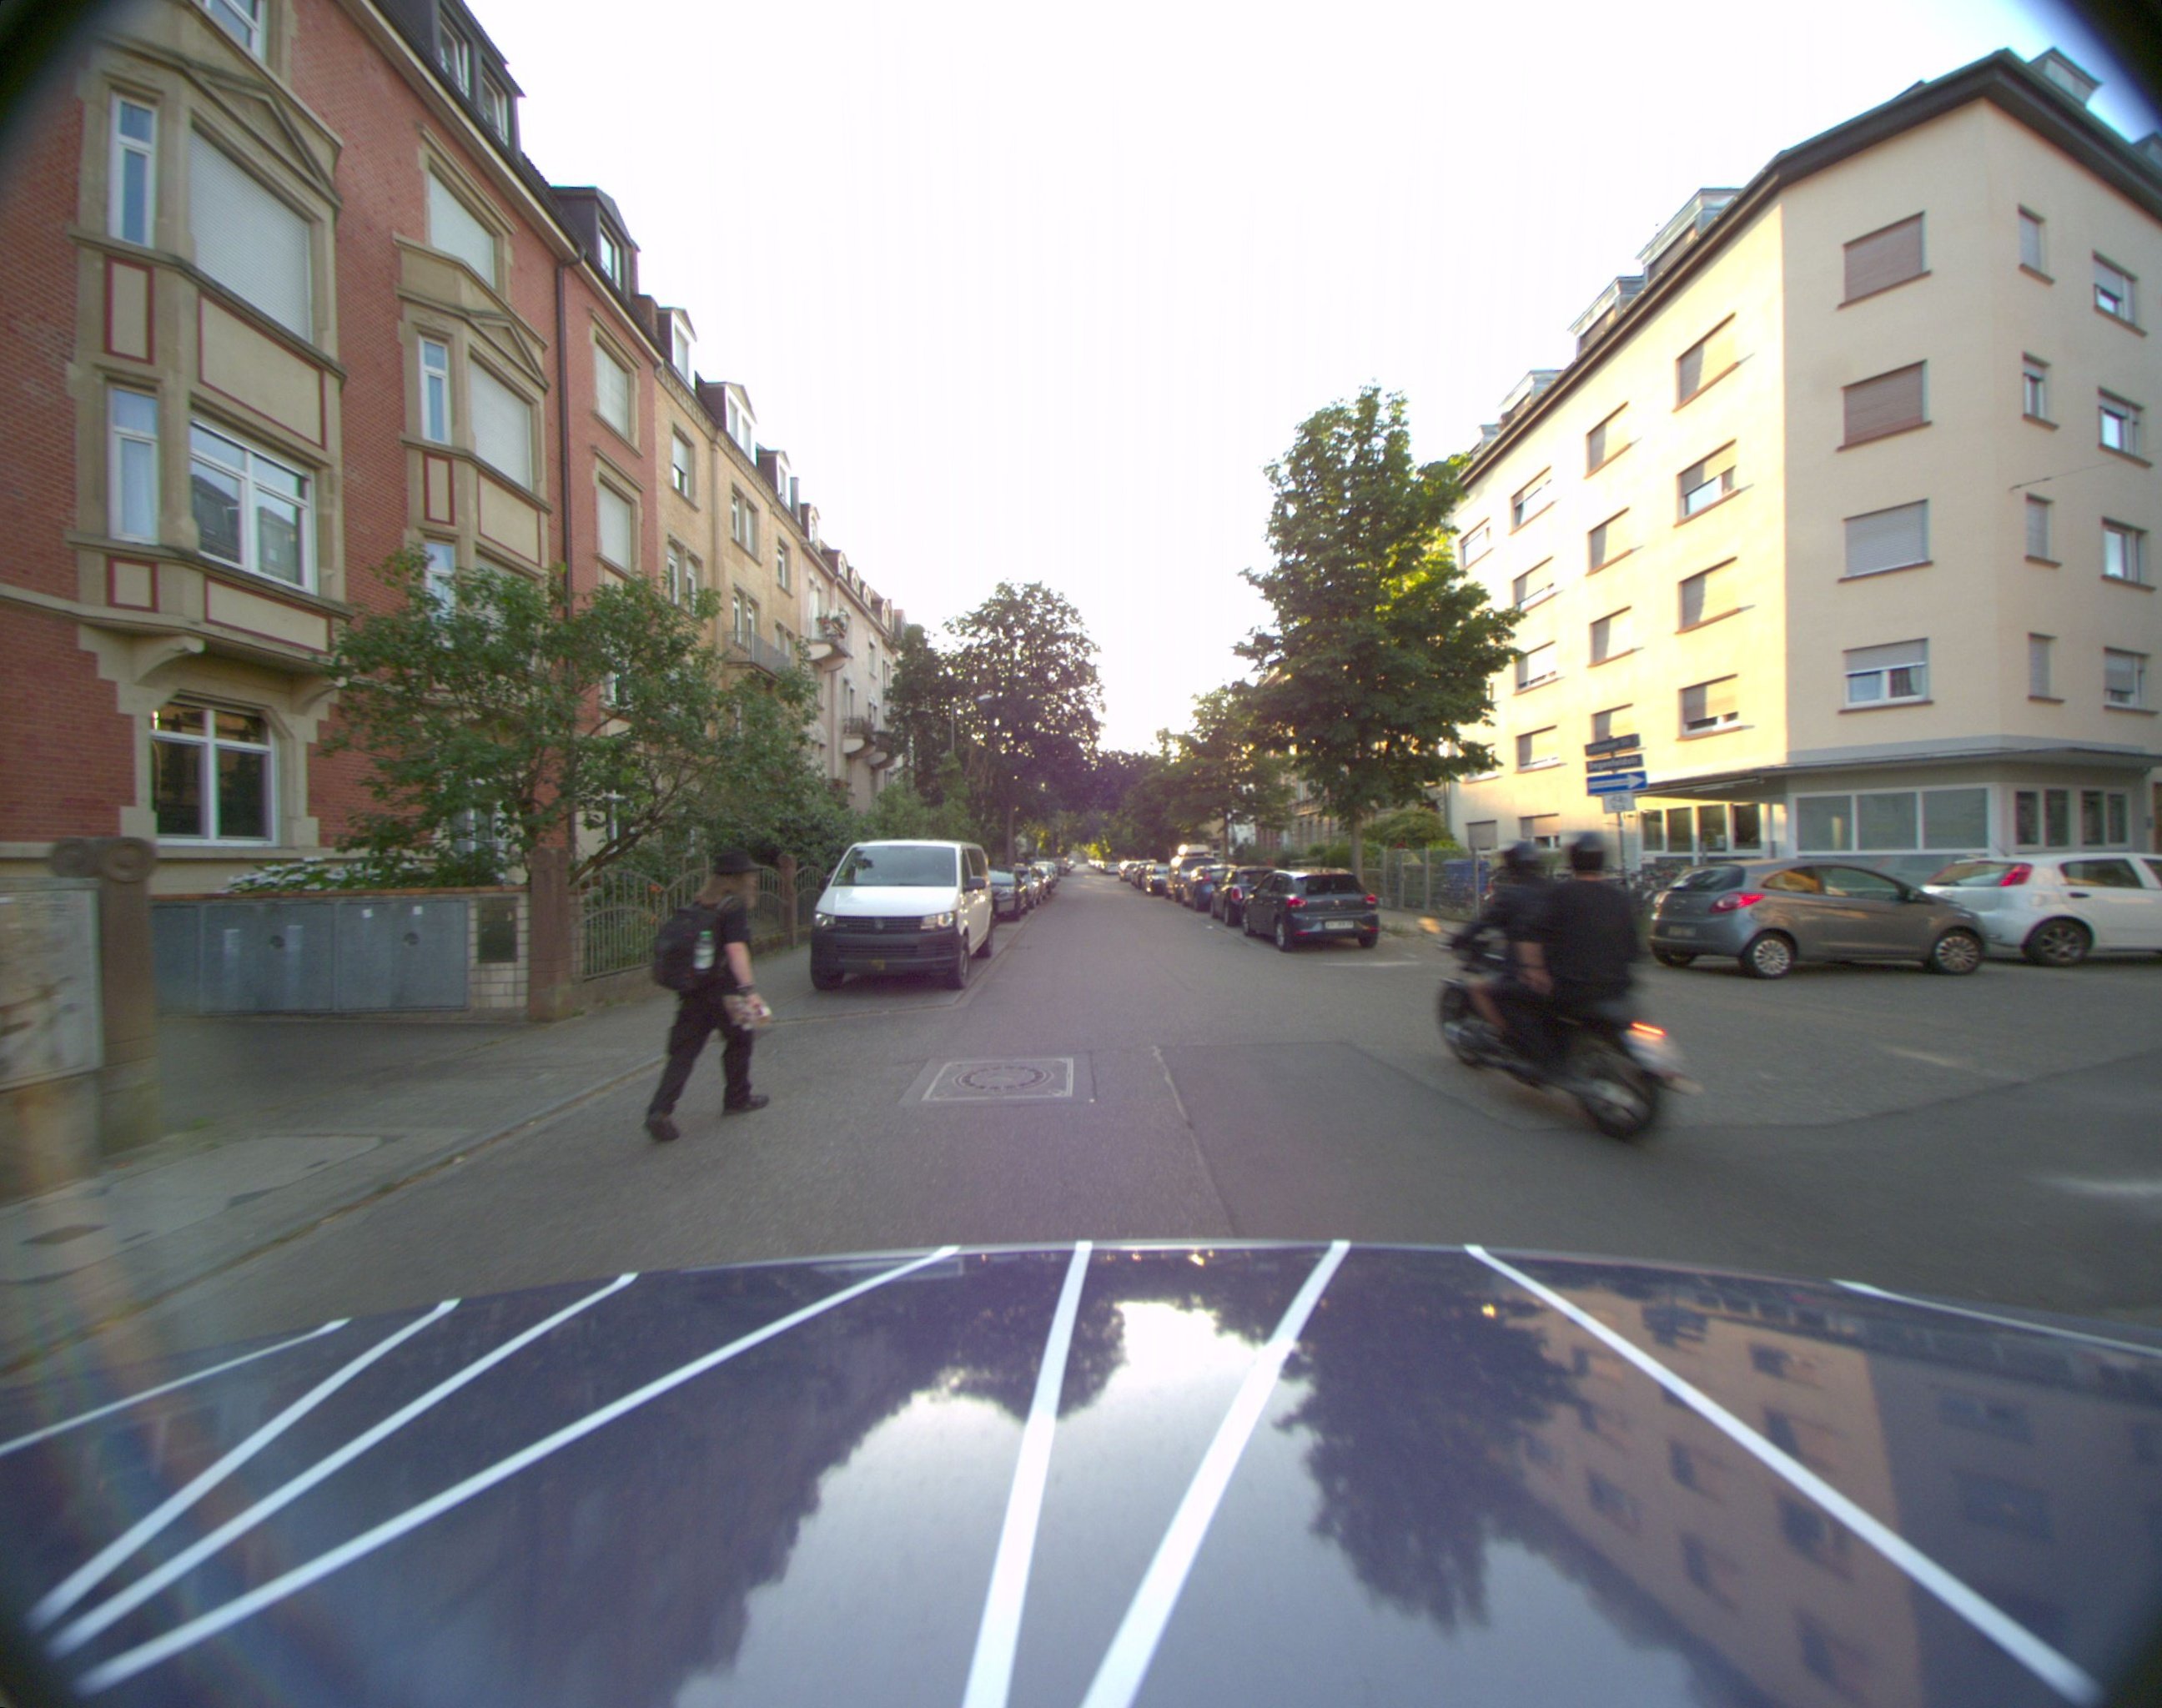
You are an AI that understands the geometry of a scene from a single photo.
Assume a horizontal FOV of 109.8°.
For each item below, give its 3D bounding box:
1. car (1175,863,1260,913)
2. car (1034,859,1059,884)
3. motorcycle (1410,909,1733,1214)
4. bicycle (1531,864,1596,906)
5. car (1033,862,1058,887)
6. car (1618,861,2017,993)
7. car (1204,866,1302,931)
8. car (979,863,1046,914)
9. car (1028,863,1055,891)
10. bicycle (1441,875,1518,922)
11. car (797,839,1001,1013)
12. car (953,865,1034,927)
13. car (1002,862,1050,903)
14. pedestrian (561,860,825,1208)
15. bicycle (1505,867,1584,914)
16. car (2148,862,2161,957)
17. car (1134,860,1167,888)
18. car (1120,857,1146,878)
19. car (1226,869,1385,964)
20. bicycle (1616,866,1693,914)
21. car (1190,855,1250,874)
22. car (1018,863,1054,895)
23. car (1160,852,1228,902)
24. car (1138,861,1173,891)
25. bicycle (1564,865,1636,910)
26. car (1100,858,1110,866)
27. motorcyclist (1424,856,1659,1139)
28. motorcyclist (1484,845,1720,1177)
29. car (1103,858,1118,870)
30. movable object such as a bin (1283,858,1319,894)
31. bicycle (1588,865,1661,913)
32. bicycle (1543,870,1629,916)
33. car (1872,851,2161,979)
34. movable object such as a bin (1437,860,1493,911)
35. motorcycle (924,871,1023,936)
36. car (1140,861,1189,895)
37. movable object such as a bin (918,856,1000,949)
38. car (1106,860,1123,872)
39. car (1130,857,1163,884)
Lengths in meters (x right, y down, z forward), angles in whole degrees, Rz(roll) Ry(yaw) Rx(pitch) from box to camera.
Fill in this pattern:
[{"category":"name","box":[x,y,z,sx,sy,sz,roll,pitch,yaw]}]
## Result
[{"category":"car","box":[4.381,1.044,25.061,1.866,1.404,4.590,-2,0,-1]},{"category":"car","box":[-2.482,1.226,55.507,1.737,1.692,4.167,-2,0,-2]},{"category":"motorcycle","box":[2.701,1.024,4.544,0.848,1.202,2.076,2,1,10]},{"category":"bicycle","box":[13.631,0.867,21.482,1.548,1.086,0.500,-3,1,-6]},{"category":"car","box":[-2.298,1.302,49.890,1.502,1.538,3.338,-2,0,-2]},{"category":"car","box":[9.599,0.900,10.146,3.515,1.499,1.845,-2,-1,-1]},{"category":"car","box":[4.382,1.073,19.905,1.746,1.412,4.143,-2,0,2]},{"category":"car","box":[-2.421,1.200,27.912,1.761,1.573,4.842,-3,0,2]},{"category":"car","box":[-2.306,1.335,45.493,1.479,1.498,3.928,-2,0,-2]},{"category":"bicycle","box":[9.755,1.071,18.671,0.689,1.019,1.931,-3,0,-6]},{"category":"car","box":[-2.417,0.843,11.641,1.866,2.027,5.544,1,0,-1]},{"category":"car","box":[-2.500,1.162,22.658,1.724,1.542,4.325,-2,0,2]},{"category":"car","box":[-2.277,1.176,32.408,1.590,1.516,3.603,-3,0,2]},{"category":"pedestrian","box":[-2.221,0.917,4.414,0.889,1.712,0.960,-2,1,30]},{"category":"bicycle","box":[11.341,0.882,18.630,0.502,1.086,1.545,-3,0,-37]},{"category":"car","box":[18.499,0.793,11.192,4.082,1.430,1.996,-1,-1,-17]},{"category":"car","box":[4.065,1.152,45.044,1.682,1.489,3.626,-2,0,2]},{"category":"car","box":[4.205,1.099,62.085,1.677,1.627,3.940,-2,0,-3]},{"category":"car","box":[4.223,1.102,15.079,1.679,1.453,4.462,-2,0,-2]},{"category":"bicycle","box":[14.077,0.877,18.665,1.548,1.086,0.500,-3,1,-6]},{"category":"car","box":[10.915,0.832,59.693,4.413,1.333,1.626,-2,0,1]},{"category":"car","box":[-2.348,1.285,40.273,1.737,1.498,4.163,-2,0,-2]},{"category":"car","box":[4.360,0.828,30.066,1.866,1.768,4.622,-2,0,-1]},{"category":"car","box":[3.972,1.150,41.027,1.441,1.485,3.298,-2,0,-2]},{"category":"bicycle","box":[13.853,0.886,20.286,1.635,1.086,0.500,-3,1,-6]},{"category":"car","box":[4.617,1.556,145.481,1.840,1.484,3.641,-2,0,0]},{"category":"motorcyclist","box":[2.730,0.778,4.648,0.891,1.496,0.970,2,1,10]},{"category":"motorcyclist","box":[2.597,0.733,3.869,0.789,1.531,0.546,2,1,10]},{"category":"car","box":[3.879,1.273,101.403,1.840,1.484,3.641,-2,0,0]},{"category":"movable object such as a bin","box":[9.135,0.899,31.592,0.948,1.379,1.551,-3,0,-3]},{"category":"bicycle","box":[13.910,0.884,19.460,1.548,1.134,0.500,-3,1,-6]},{"category":"bicycle","box":[12.455,0.949,18.773,0.386,1.086,1.707,-3,0,-36]},{"category":"car","box":[14.120,0.780,10.448,4.066,1.499,1.975,-3,0,12]},{"category":"movable object such as a bin","box":[10.832,0.862,21.469,0.868,1.344,1.398,-3,0,2]},{"category":"motorcycle","box":[-2.627,1.165,18.589,2.099,1.473,1.130,0,1,-33]},{"category":"car","box":[3.935,1.107,36.311,1.733,1.433,4.023,-2,0,-2]},{"category":"movable object such as a bin","box":[-2.611,0.991,16.647,1.415,1.867,2.324,1,0,-1]},{"category":"car","box":[4.227,1.494,95.766,1.953,1.484,3.738,-2,0,0]},{"category":"car","box":[4.317,1.067,50.527,1.866,1.653,4.021,-2,0,1]}]
